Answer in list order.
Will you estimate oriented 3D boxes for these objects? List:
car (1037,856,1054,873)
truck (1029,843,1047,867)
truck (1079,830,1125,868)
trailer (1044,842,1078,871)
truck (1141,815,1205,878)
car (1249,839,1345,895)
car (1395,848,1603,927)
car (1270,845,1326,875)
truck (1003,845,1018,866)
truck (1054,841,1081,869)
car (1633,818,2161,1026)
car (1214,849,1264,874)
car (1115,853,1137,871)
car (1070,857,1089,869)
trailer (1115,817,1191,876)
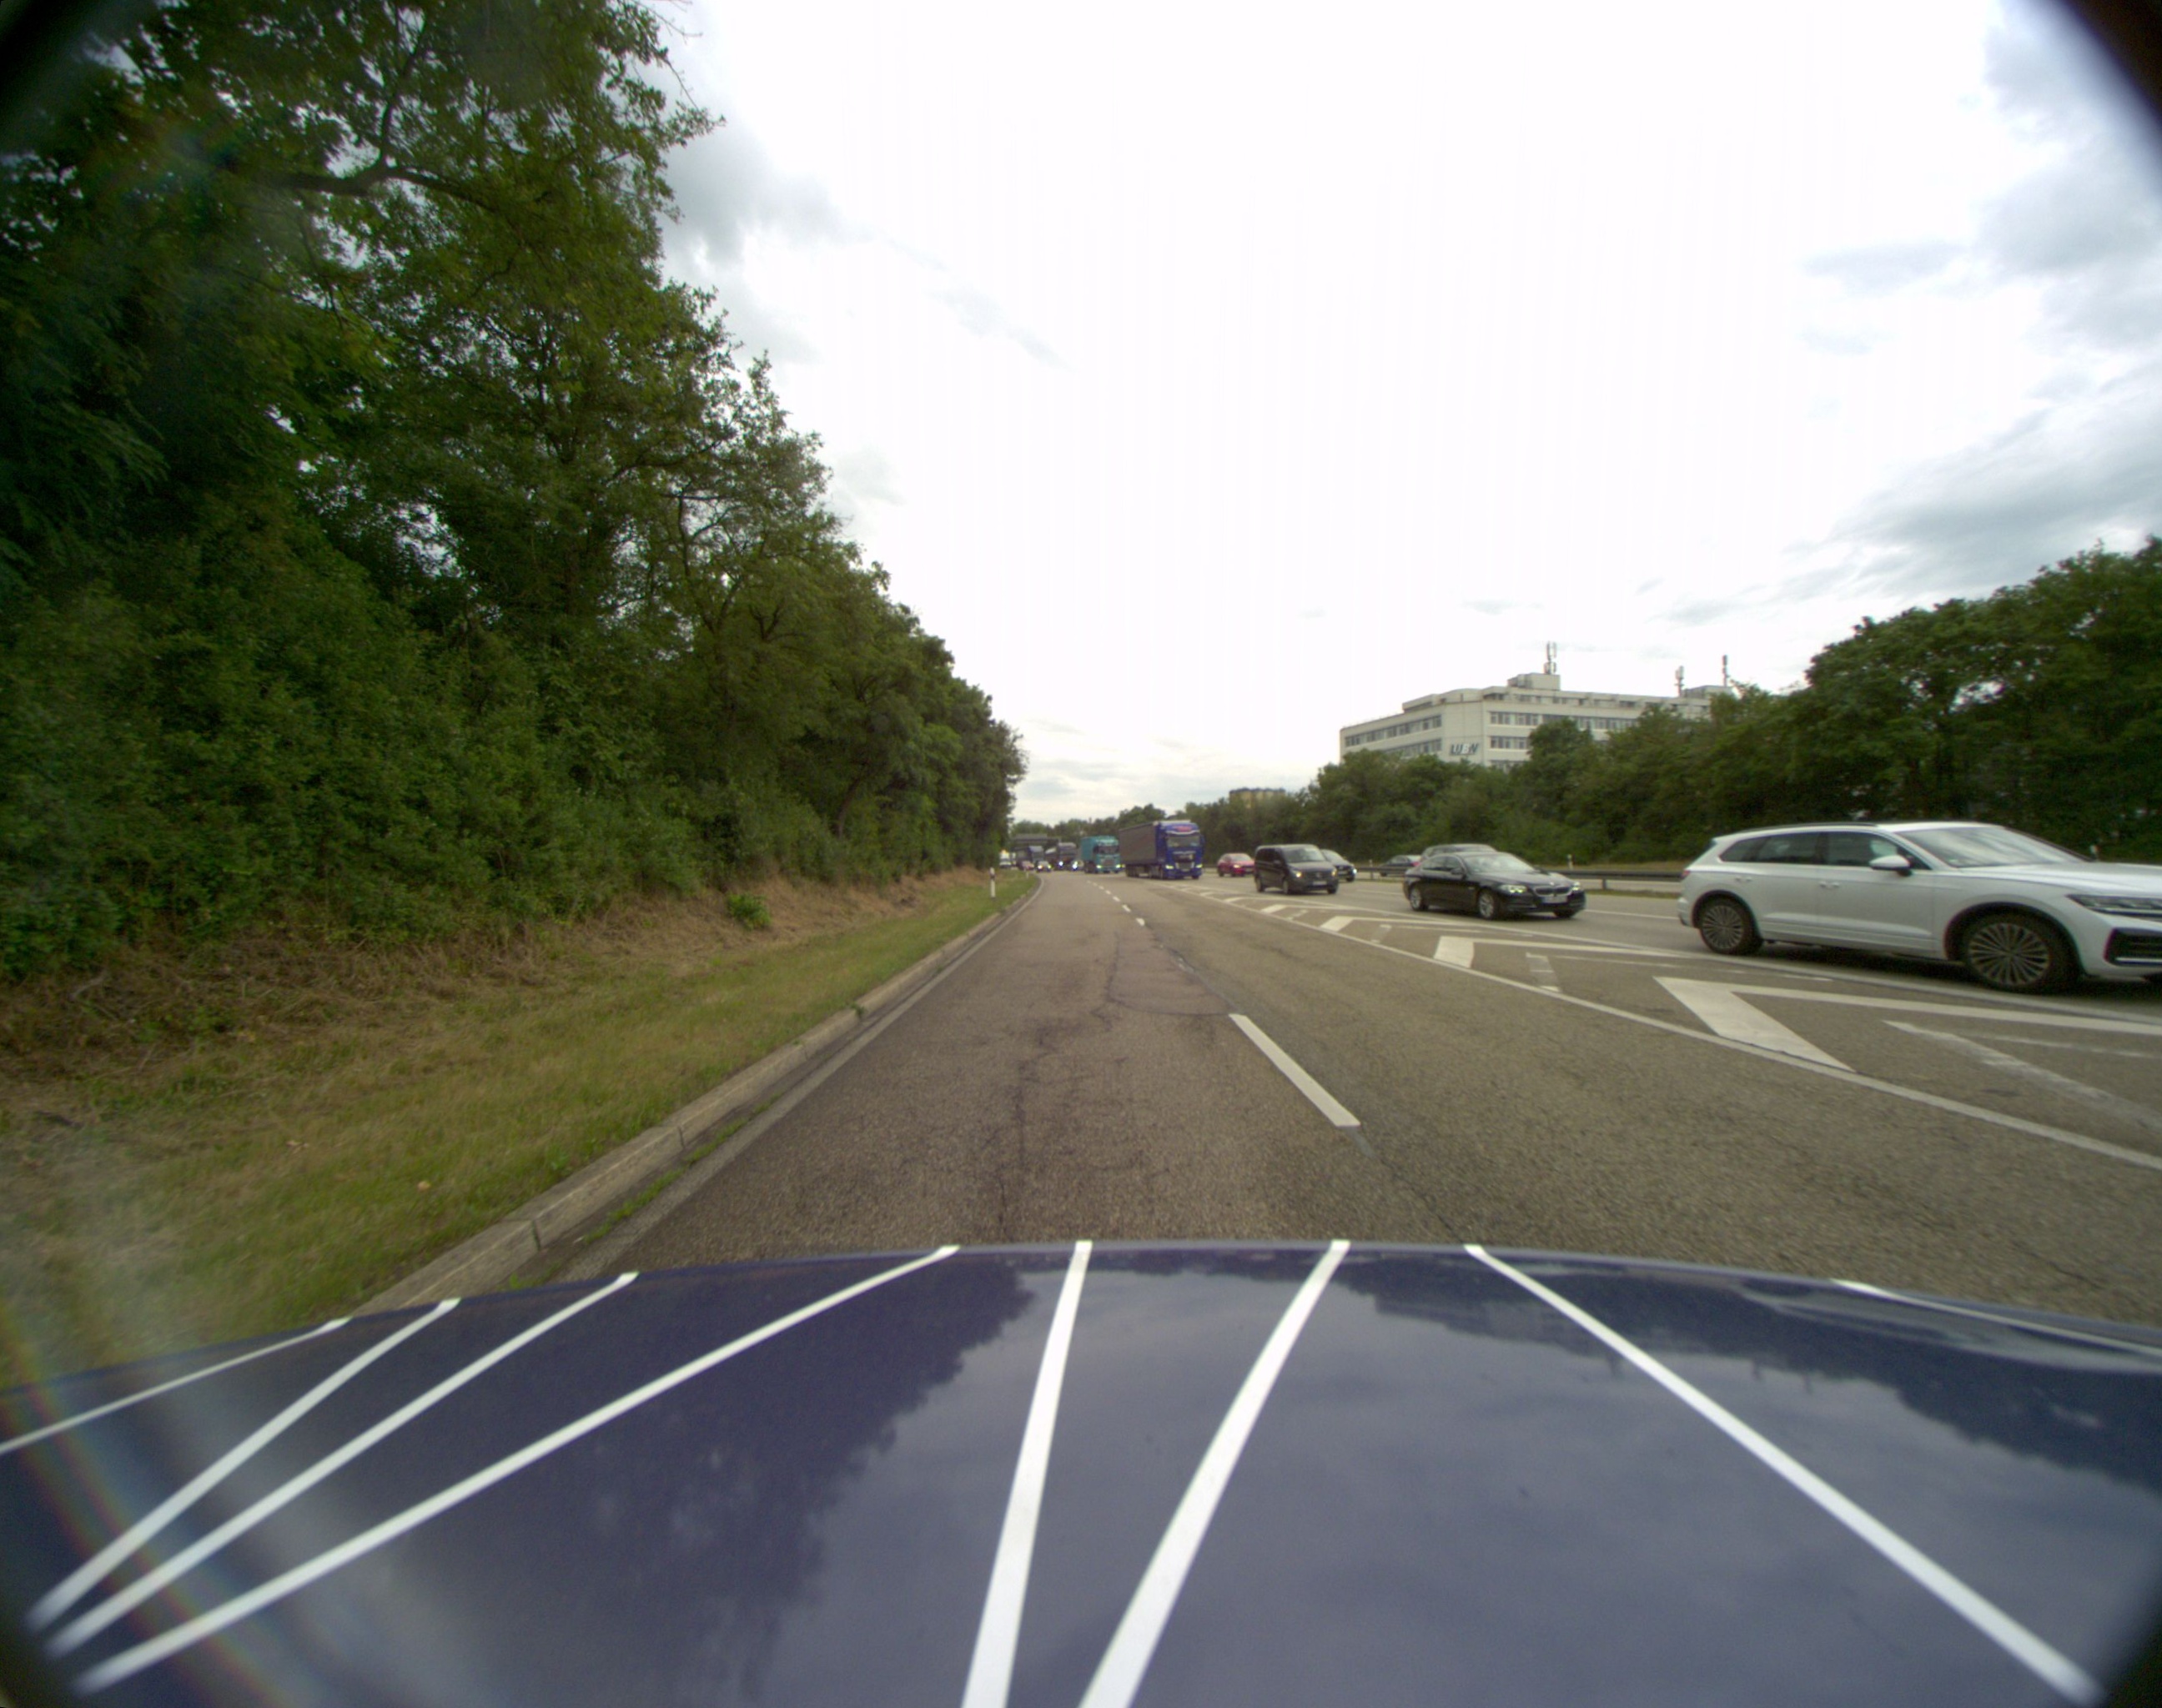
[{"bbox_3d":[-4.582,1.354,97.228,1.765,2.002,3.998,-2,0,-7],"label":"car"},{"bbox_3d":[-7.481,0.180,131.862,2.547,3.949,6.470,-2,0,-8],"label":"truck"},{"bbox_3d":[2.152,-0.436,82.281,2.939,3.774,11.322,-1,0,-9],"label":"truck"},{"bbox_3d":[-3.200,0.447,114.538,2.847,4.012,13.074,-1,0,-11],"label":"trailer"},{"bbox_3d":[6.237,-0.519,52.568,2.569,4.019,6.583,-3,1,-9],"label":"truck"},{"bbox_3d":[8.287,0.476,29.699,1.999,1.894,5.078,-3,0,-3],"label":"car"},{"bbox_3d":[9.189,0.636,17.274,1.852,1.451,4.829,-3,1,-3],"label":"car"},{"bbox_3d":[12.302,0.358,43.324,1.650,1.602,3.998,-2,0,-6],"label":"car"},{"bbox_3d":[-13.525,0.252,145.900,2.255,3.949,6.622,-2,0,-10],"label":"truck"},{"bbox_3d":[-2.022,0.139,107.941,2.692,3.884,6.929,-1,0,-10],"label":"truck"},{"bbox_3d":[9.341,0.523,8.660,1.916,1.650,5.378,-2,0,-4],"label":"car"},{"bbox_3d":[10.991,0.539,53.137,1.999,1.609,4.785,-2,0,-6],"label":"car"},{"bbox_3d":[5.188,0.904,88.364,1.674,2.002,3.997,-2,0,-9],"label":"car"},{"bbox_3d":[-0.219,1.106,94.875,1.753,1.413,3.661,-1,0,-9],"label":"car"},{"bbox_3d":[5.291,-0.536,59.372,2.635,3.999,13.452,-3,1,-9],"label":"trailer"}]
